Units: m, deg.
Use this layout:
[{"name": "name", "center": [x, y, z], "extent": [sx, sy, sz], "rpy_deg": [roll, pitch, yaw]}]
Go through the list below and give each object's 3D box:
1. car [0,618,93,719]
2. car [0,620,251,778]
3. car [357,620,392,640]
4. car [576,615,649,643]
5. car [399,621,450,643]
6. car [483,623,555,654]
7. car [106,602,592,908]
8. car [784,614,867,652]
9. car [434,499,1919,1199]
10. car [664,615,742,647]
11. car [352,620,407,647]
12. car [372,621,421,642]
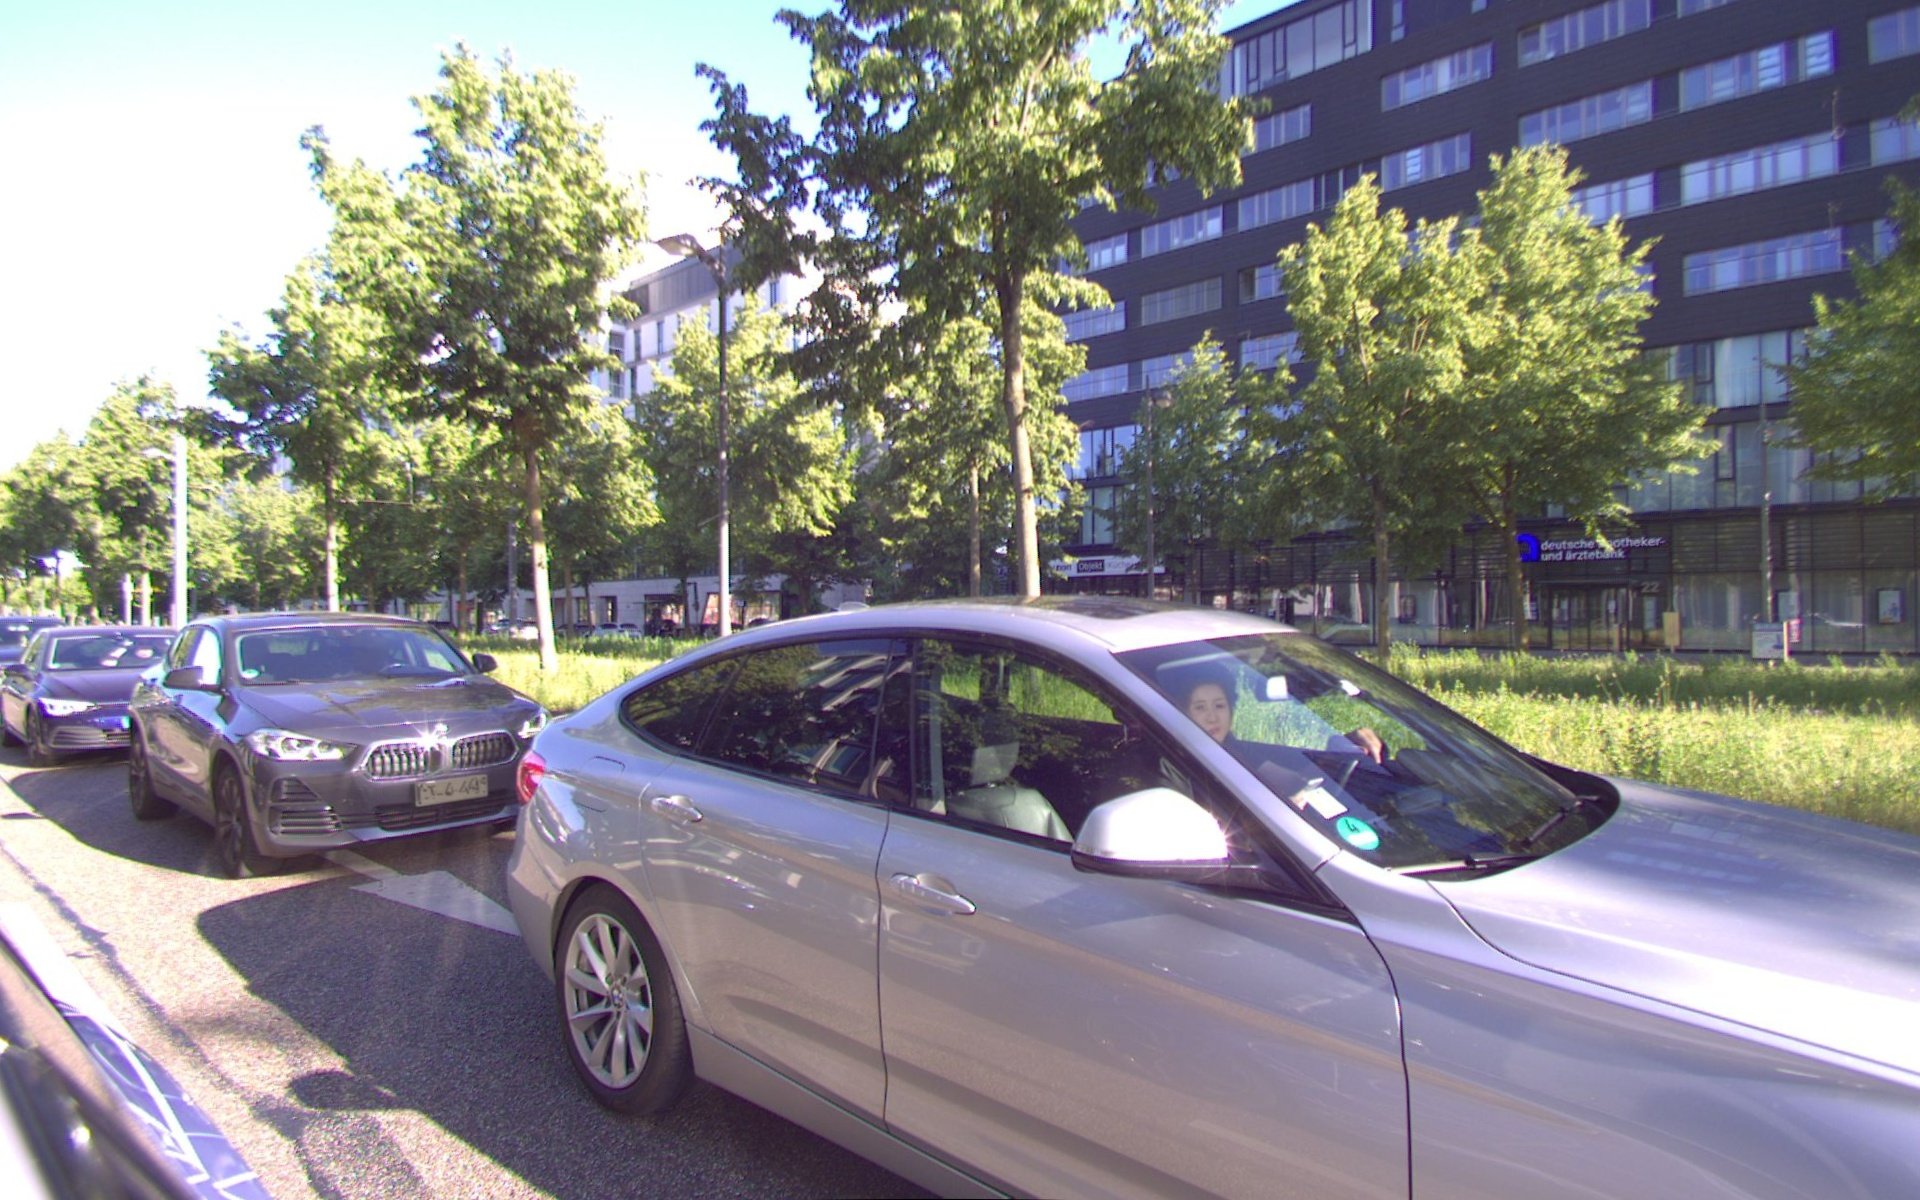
[{"name": "car", "center": [-16.684, 1.131, 17.730], "extent": [4.164, 1.602, 1.788], "rpy_deg": [-1, -1, 42]}, {"name": "car", "center": [-9.785, 0.986, 11.629], "extent": [4.253, 1.465, 1.789], "rpy_deg": [-1, -1, 42]}, {"name": "car", "center": [-51.011, 2.636, 88.156], "extent": [3.741, 1.682, 1.581], "rpy_deg": [-1, -1, 41]}, {"name": "car", "center": [-21.746, 1.814, 63.235], "extent": [4.785, 1.711, 1.988], "rpy_deg": [-1, -1, 38]}, {"name": "car", "center": [-42.969, 2.573, 81.203], "extent": [4.788, 1.711, 1.986], "rpy_deg": [-1, -1, 40]}, {"name": "car", "center": [-21.114, 1.830, 48.374], "extent": [3.998, 1.403, 1.644], "rpy_deg": [-1, -1, 41]}, {"name": "car", "center": [-4.432, 0.818, 7.086], "extent": [4.027, 1.534, 1.789], "rpy_deg": [-1, -1, 41]}, {"name": "car", "center": [-6.593, 1.610, 49.454], "extent": [3.998, 1.762, 1.834], "rpy_deg": [-1, -1, 41]}, {"name": "car", "center": [0.513, 0.671, 2.739], "extent": [4.739, 1.500, 1.790], "rpy_deg": [-1, -1, 40]}, {"name": "car", "center": [-14.327, 1.721, 56.334], "extent": [4.790, 1.697, 1.834], "rpy_deg": [-1, -1, 41]}, {"name": "car", "center": [-39.338, 2.239, 68.550], "extent": [4.790, 1.742, 1.834], "rpy_deg": [-1, -1, 41]}, {"name": "car", "center": [-47.354, 2.646, 85.004], "extent": [4.788, 1.711, 1.986], "rpy_deg": [-1, -1, 40]}]
